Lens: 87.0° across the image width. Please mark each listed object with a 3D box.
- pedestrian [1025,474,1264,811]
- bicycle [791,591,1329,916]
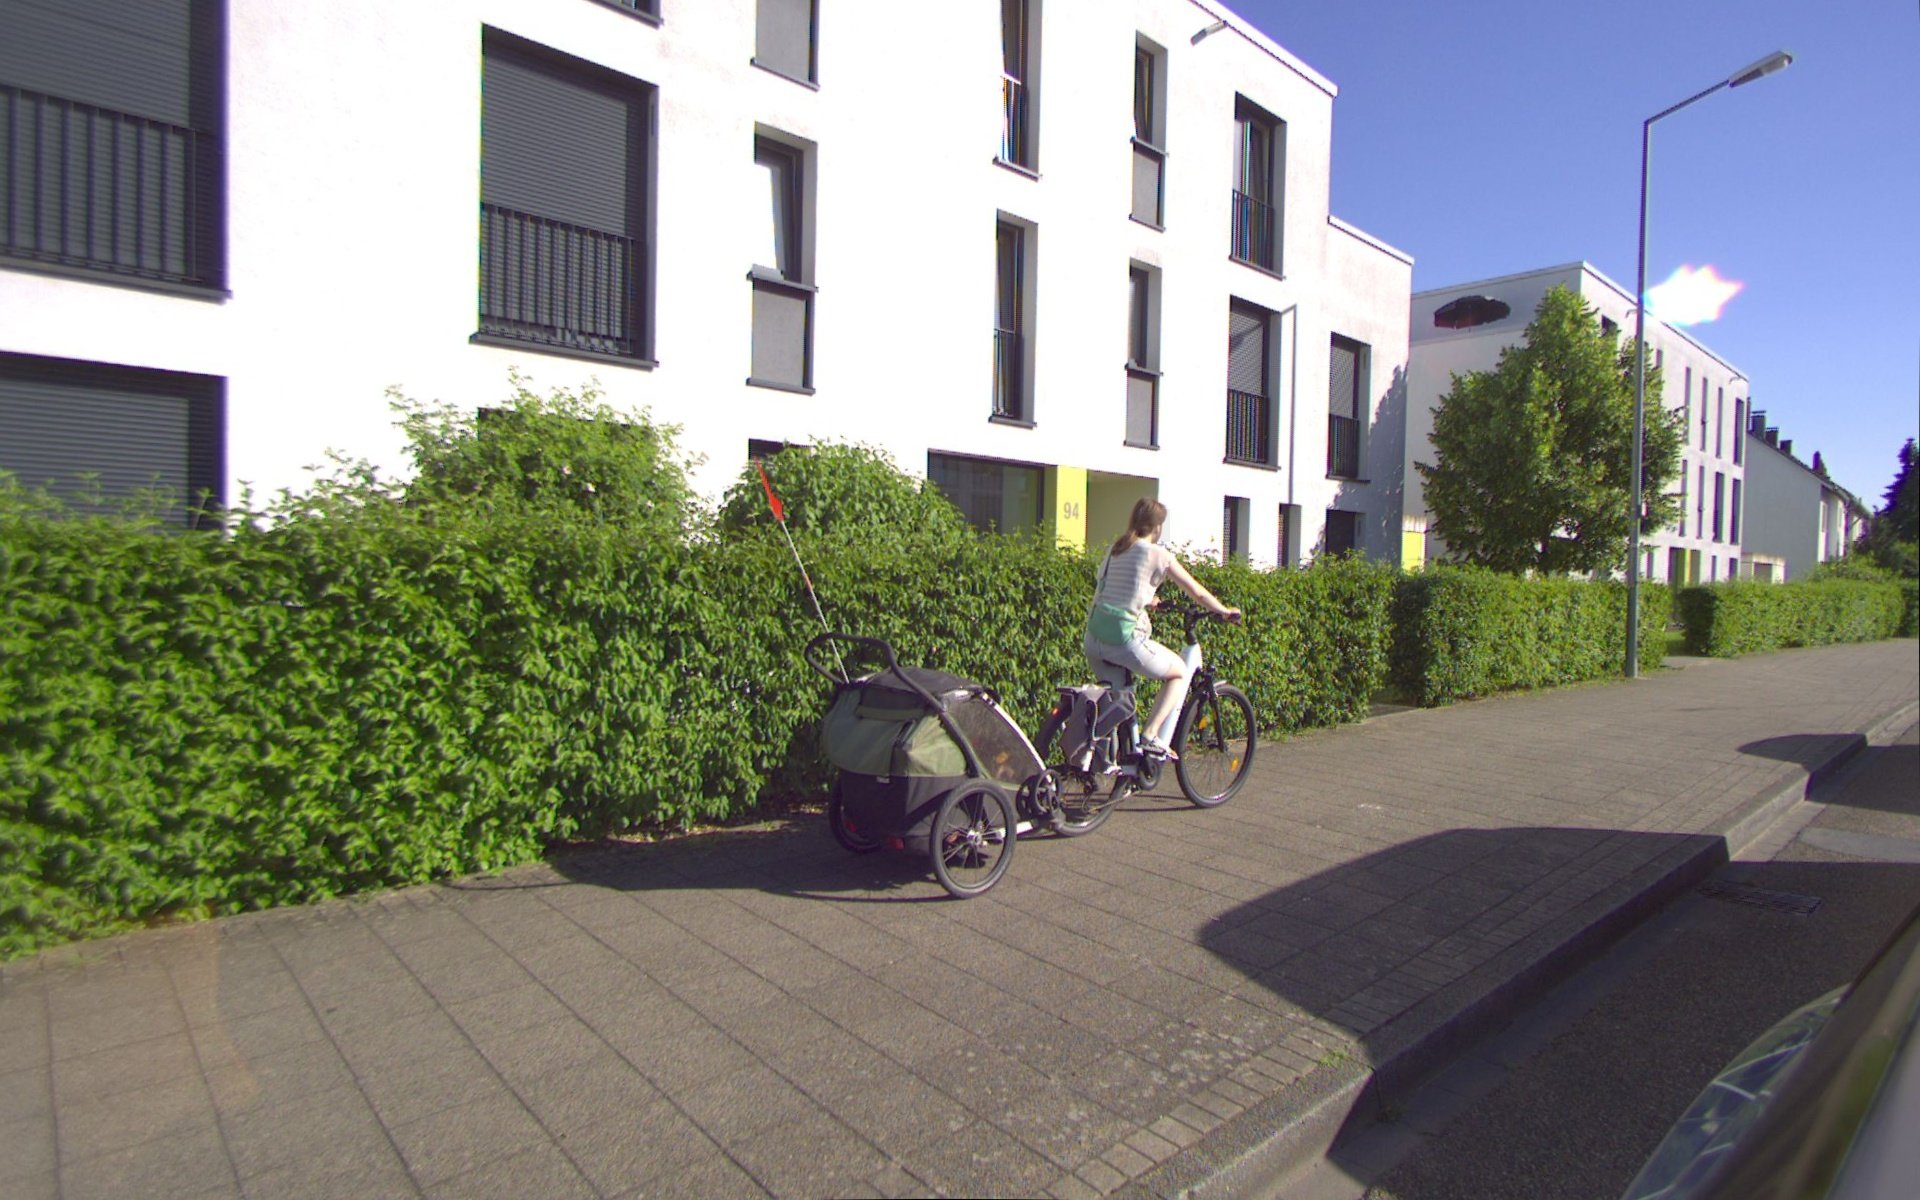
[{"bbox_3d":[0.988,0.183,5.459,0.840,1.613,0.912,0,2,-42],"label":"pedestrian"},{"bbox_3d":[0.696,0.572,5.212,3.072,1.187,0.930,-1,3,-43],"label":"bicycle"}]
